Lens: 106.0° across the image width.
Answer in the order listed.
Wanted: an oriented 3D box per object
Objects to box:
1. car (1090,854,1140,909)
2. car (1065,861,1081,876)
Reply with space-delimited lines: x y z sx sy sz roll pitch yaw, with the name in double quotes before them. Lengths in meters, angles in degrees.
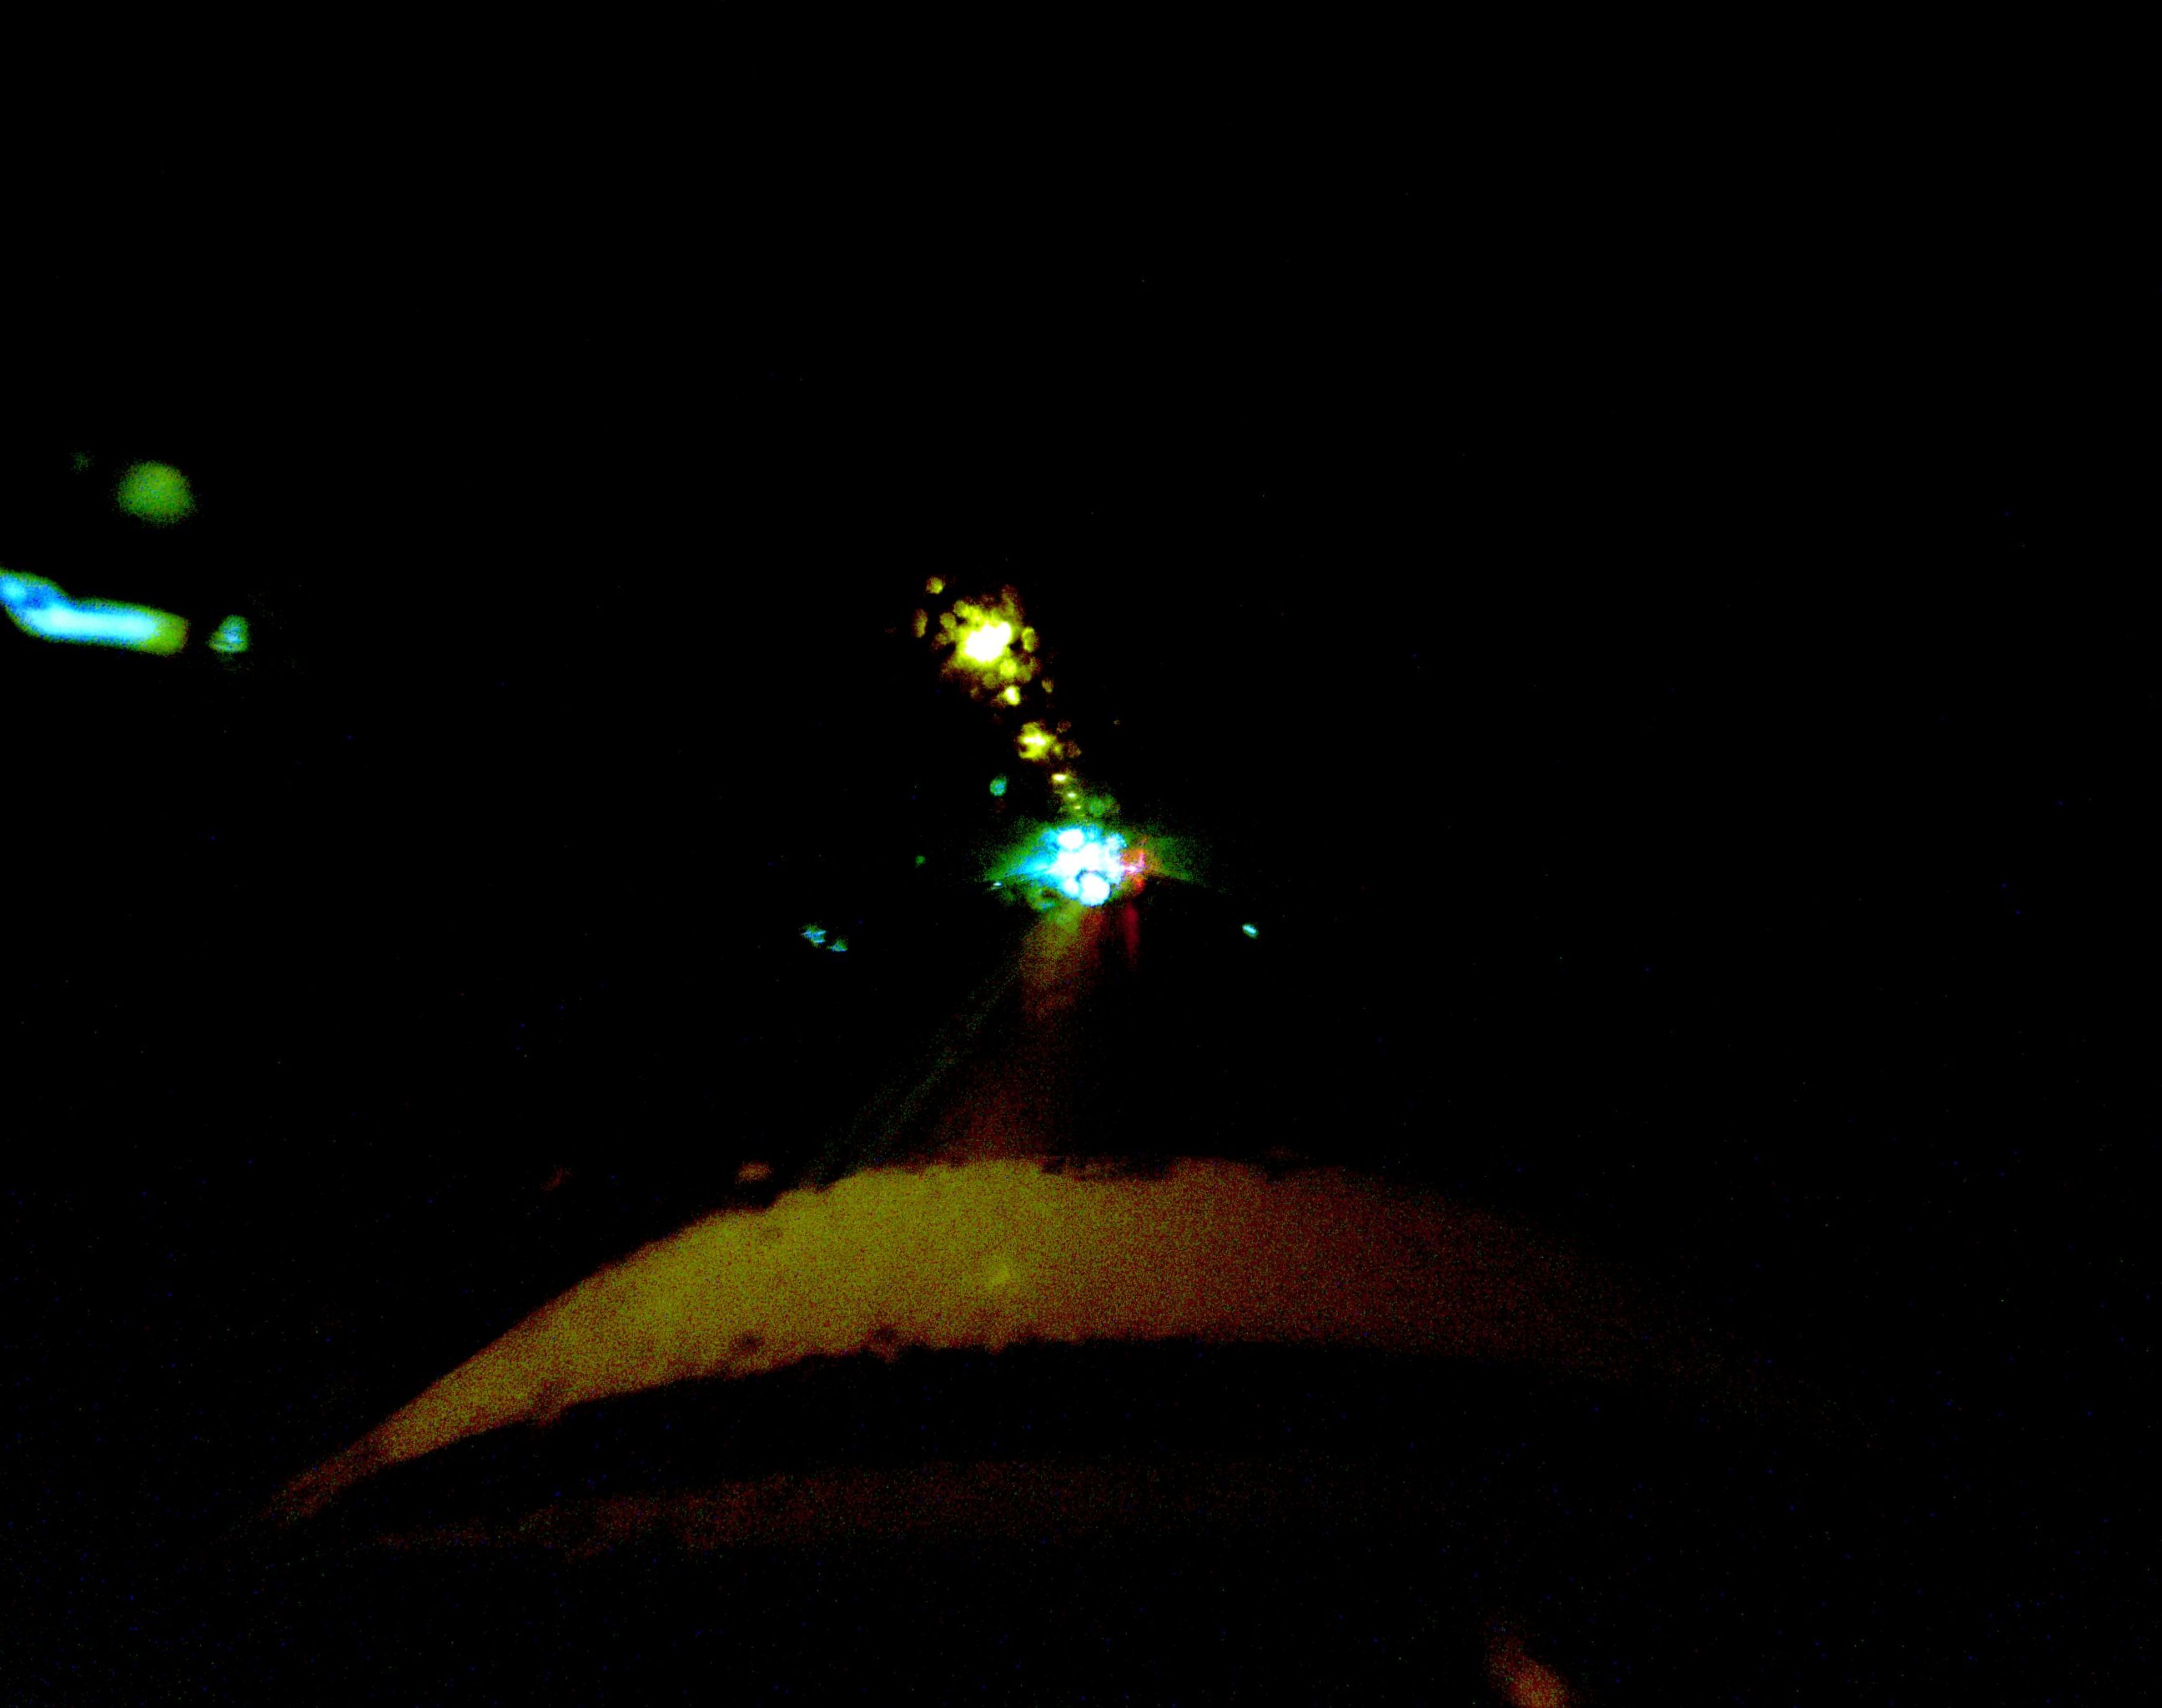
"car" 1.228 0.914 29.127 1.629 1.757 4.148 -1 0 2
"car" -0.888 1.657 95.620 1.629 1.602 4.148 -1 1 2
